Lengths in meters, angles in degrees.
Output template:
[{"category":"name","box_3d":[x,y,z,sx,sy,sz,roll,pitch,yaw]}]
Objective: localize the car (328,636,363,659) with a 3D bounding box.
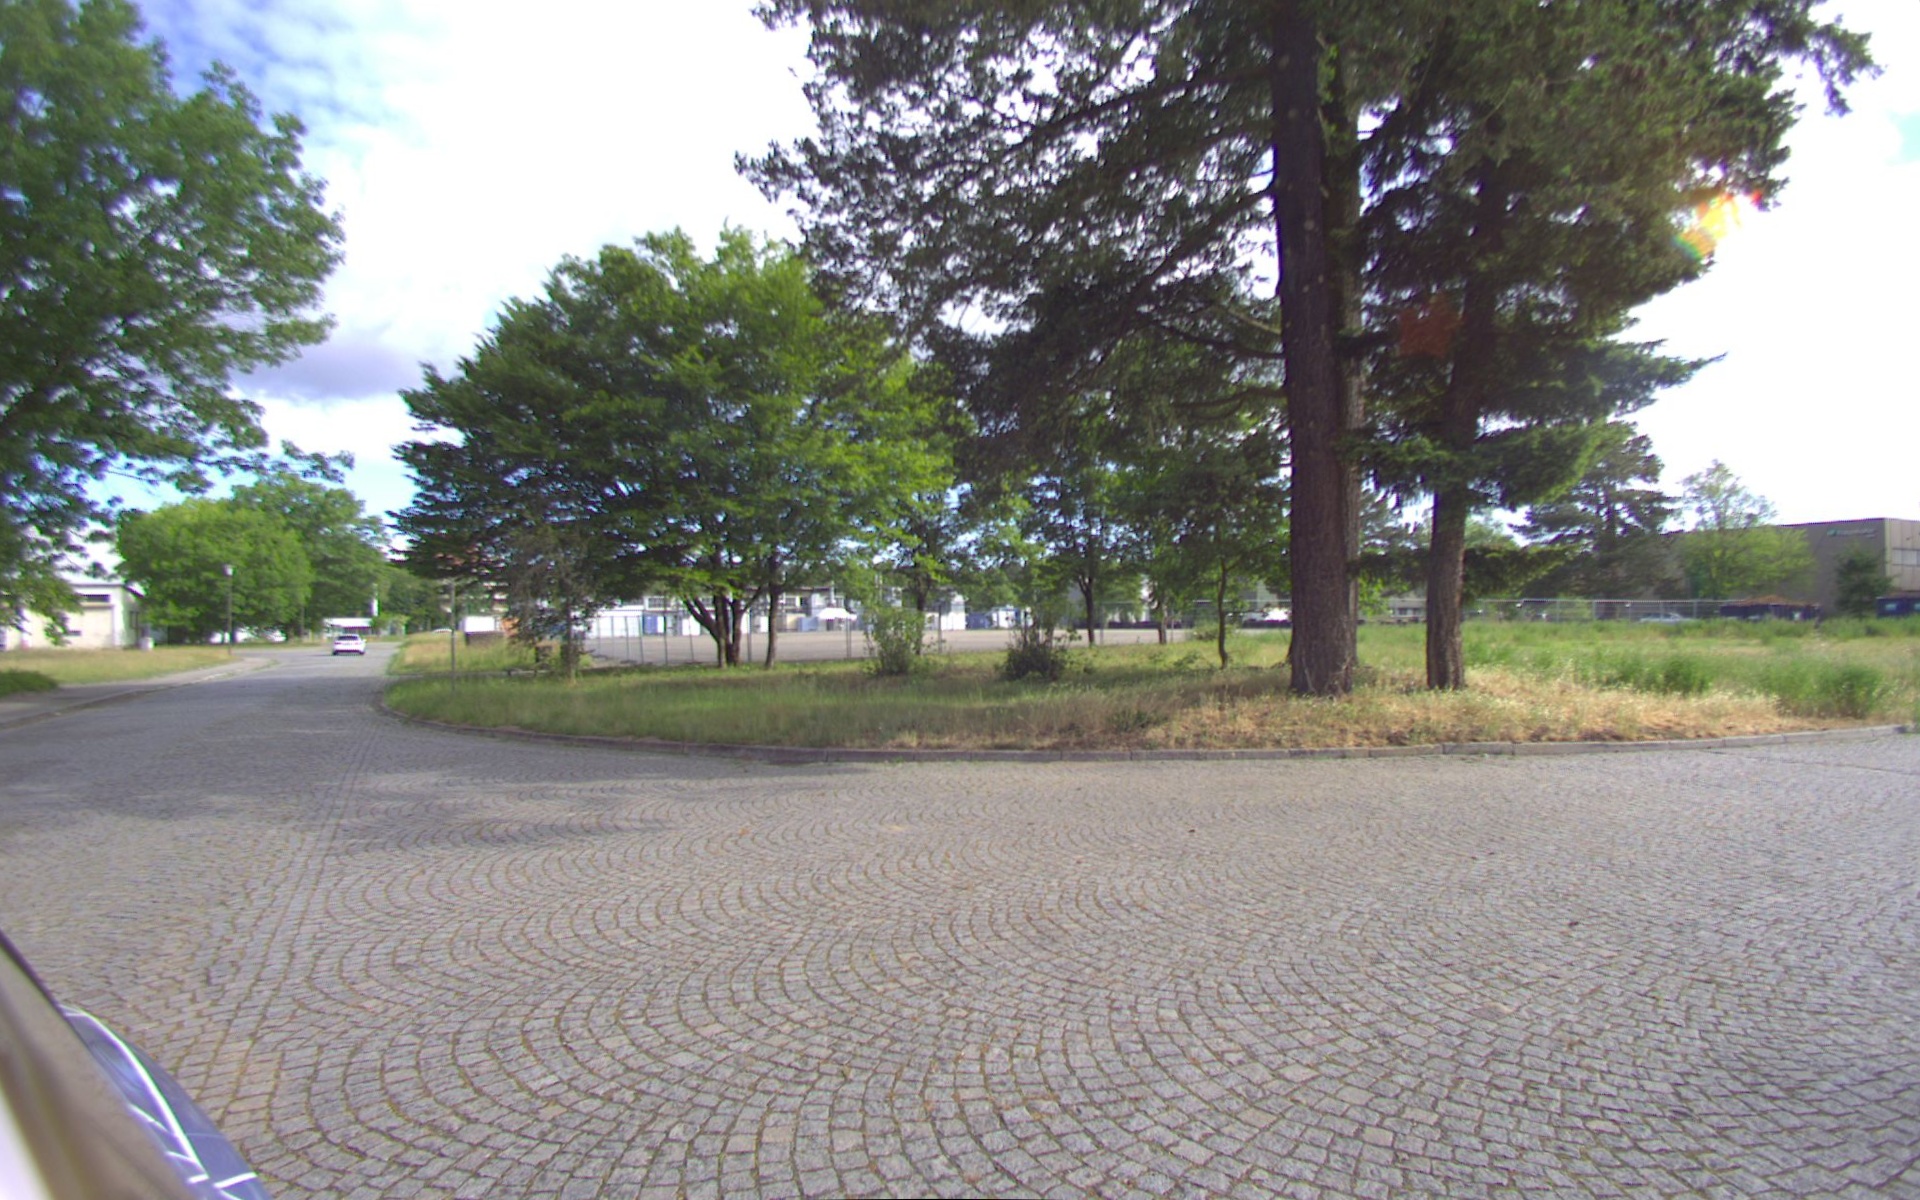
[{"category":"car","box_3d":[-41.259,3.157,68.053,1.823,1.448,4.720,-1,-1,-29]}]
